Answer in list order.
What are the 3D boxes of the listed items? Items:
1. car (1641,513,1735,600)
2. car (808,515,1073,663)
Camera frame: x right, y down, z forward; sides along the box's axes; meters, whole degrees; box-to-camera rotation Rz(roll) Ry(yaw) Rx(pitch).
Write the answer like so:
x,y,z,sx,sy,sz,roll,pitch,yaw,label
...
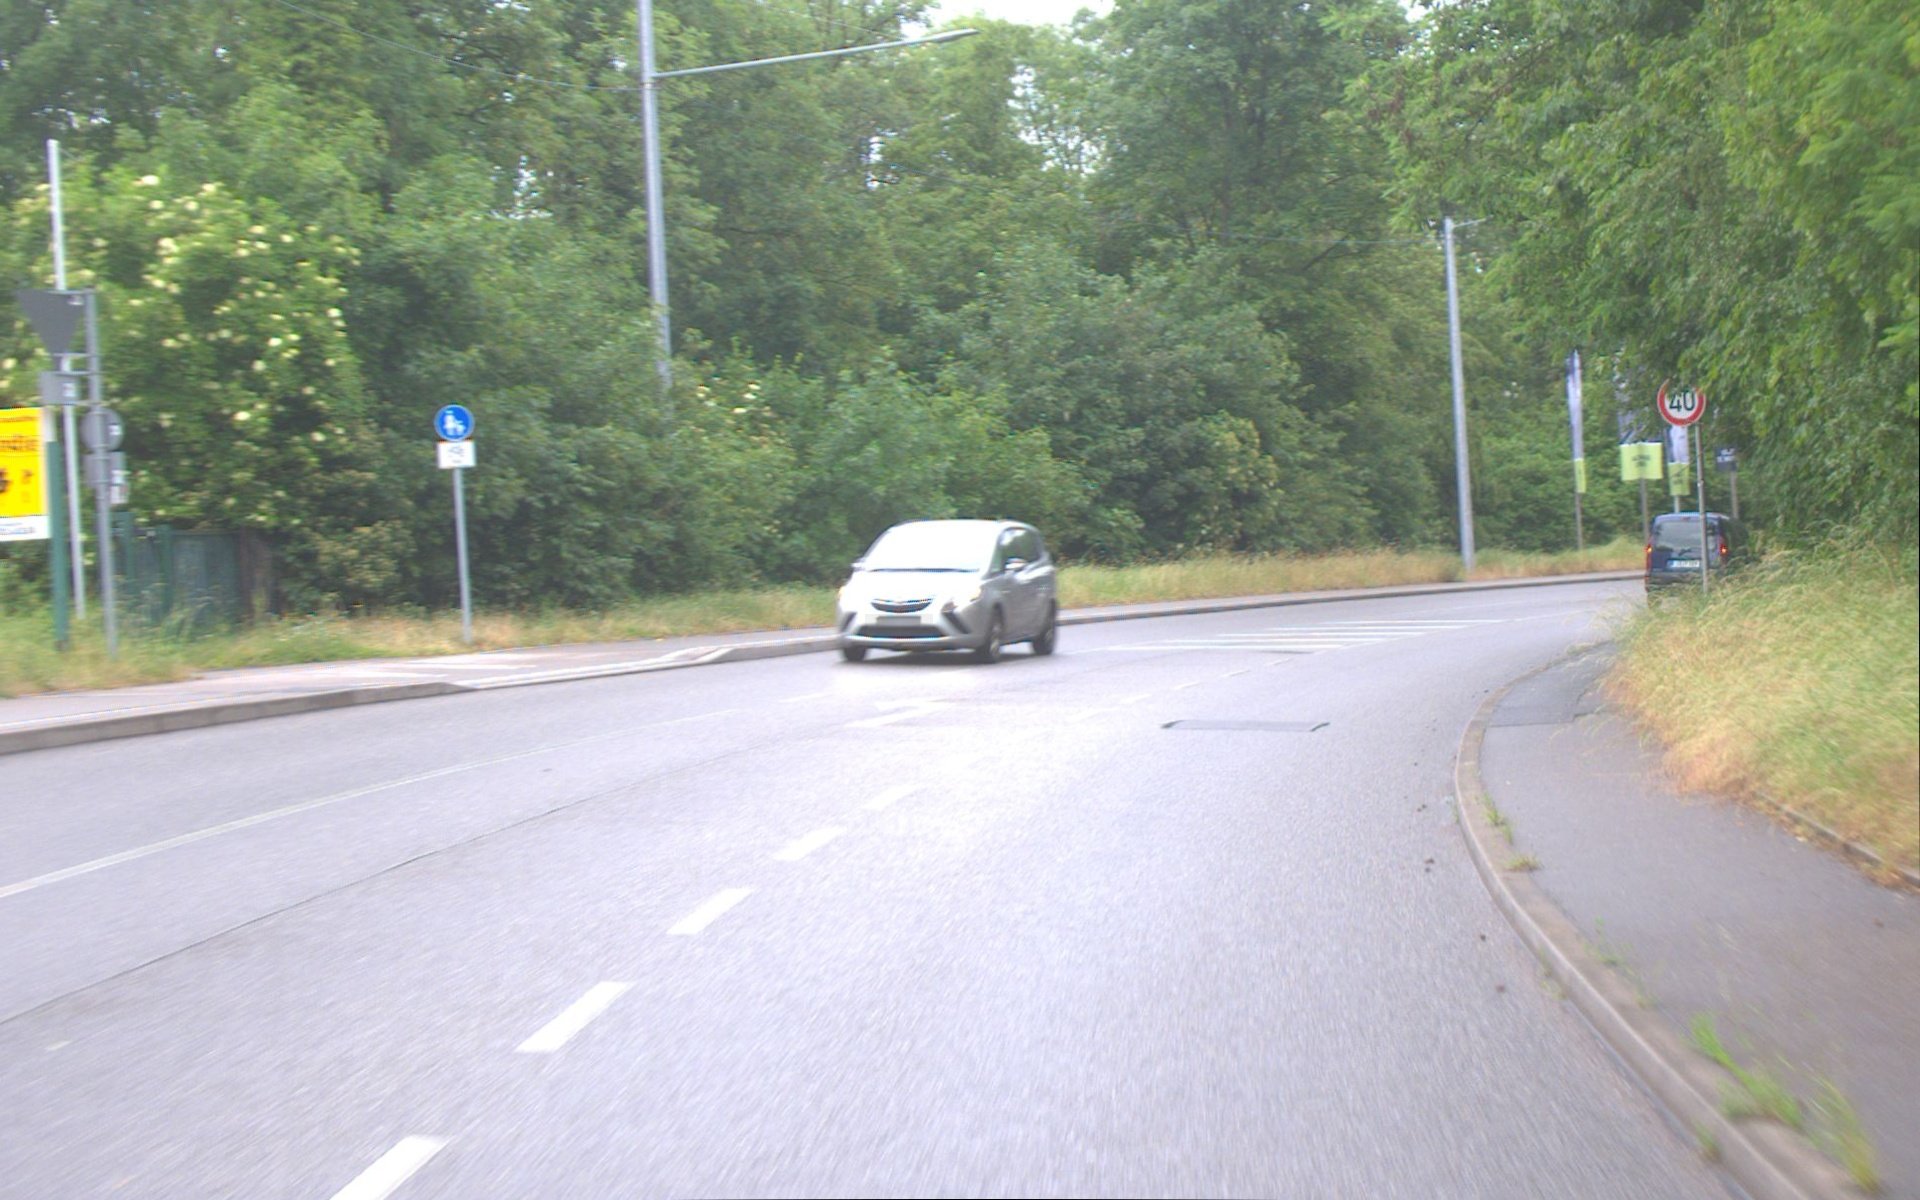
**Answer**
x,y,z,sx,sy,sz,roll,pitch,yaw,label
13.758,-0.831,65.095,1.668,1.588,3.681,1,1,11,car
-0.157,-0.160,40.414,1.760,1.609,4.414,1,1,19,car
